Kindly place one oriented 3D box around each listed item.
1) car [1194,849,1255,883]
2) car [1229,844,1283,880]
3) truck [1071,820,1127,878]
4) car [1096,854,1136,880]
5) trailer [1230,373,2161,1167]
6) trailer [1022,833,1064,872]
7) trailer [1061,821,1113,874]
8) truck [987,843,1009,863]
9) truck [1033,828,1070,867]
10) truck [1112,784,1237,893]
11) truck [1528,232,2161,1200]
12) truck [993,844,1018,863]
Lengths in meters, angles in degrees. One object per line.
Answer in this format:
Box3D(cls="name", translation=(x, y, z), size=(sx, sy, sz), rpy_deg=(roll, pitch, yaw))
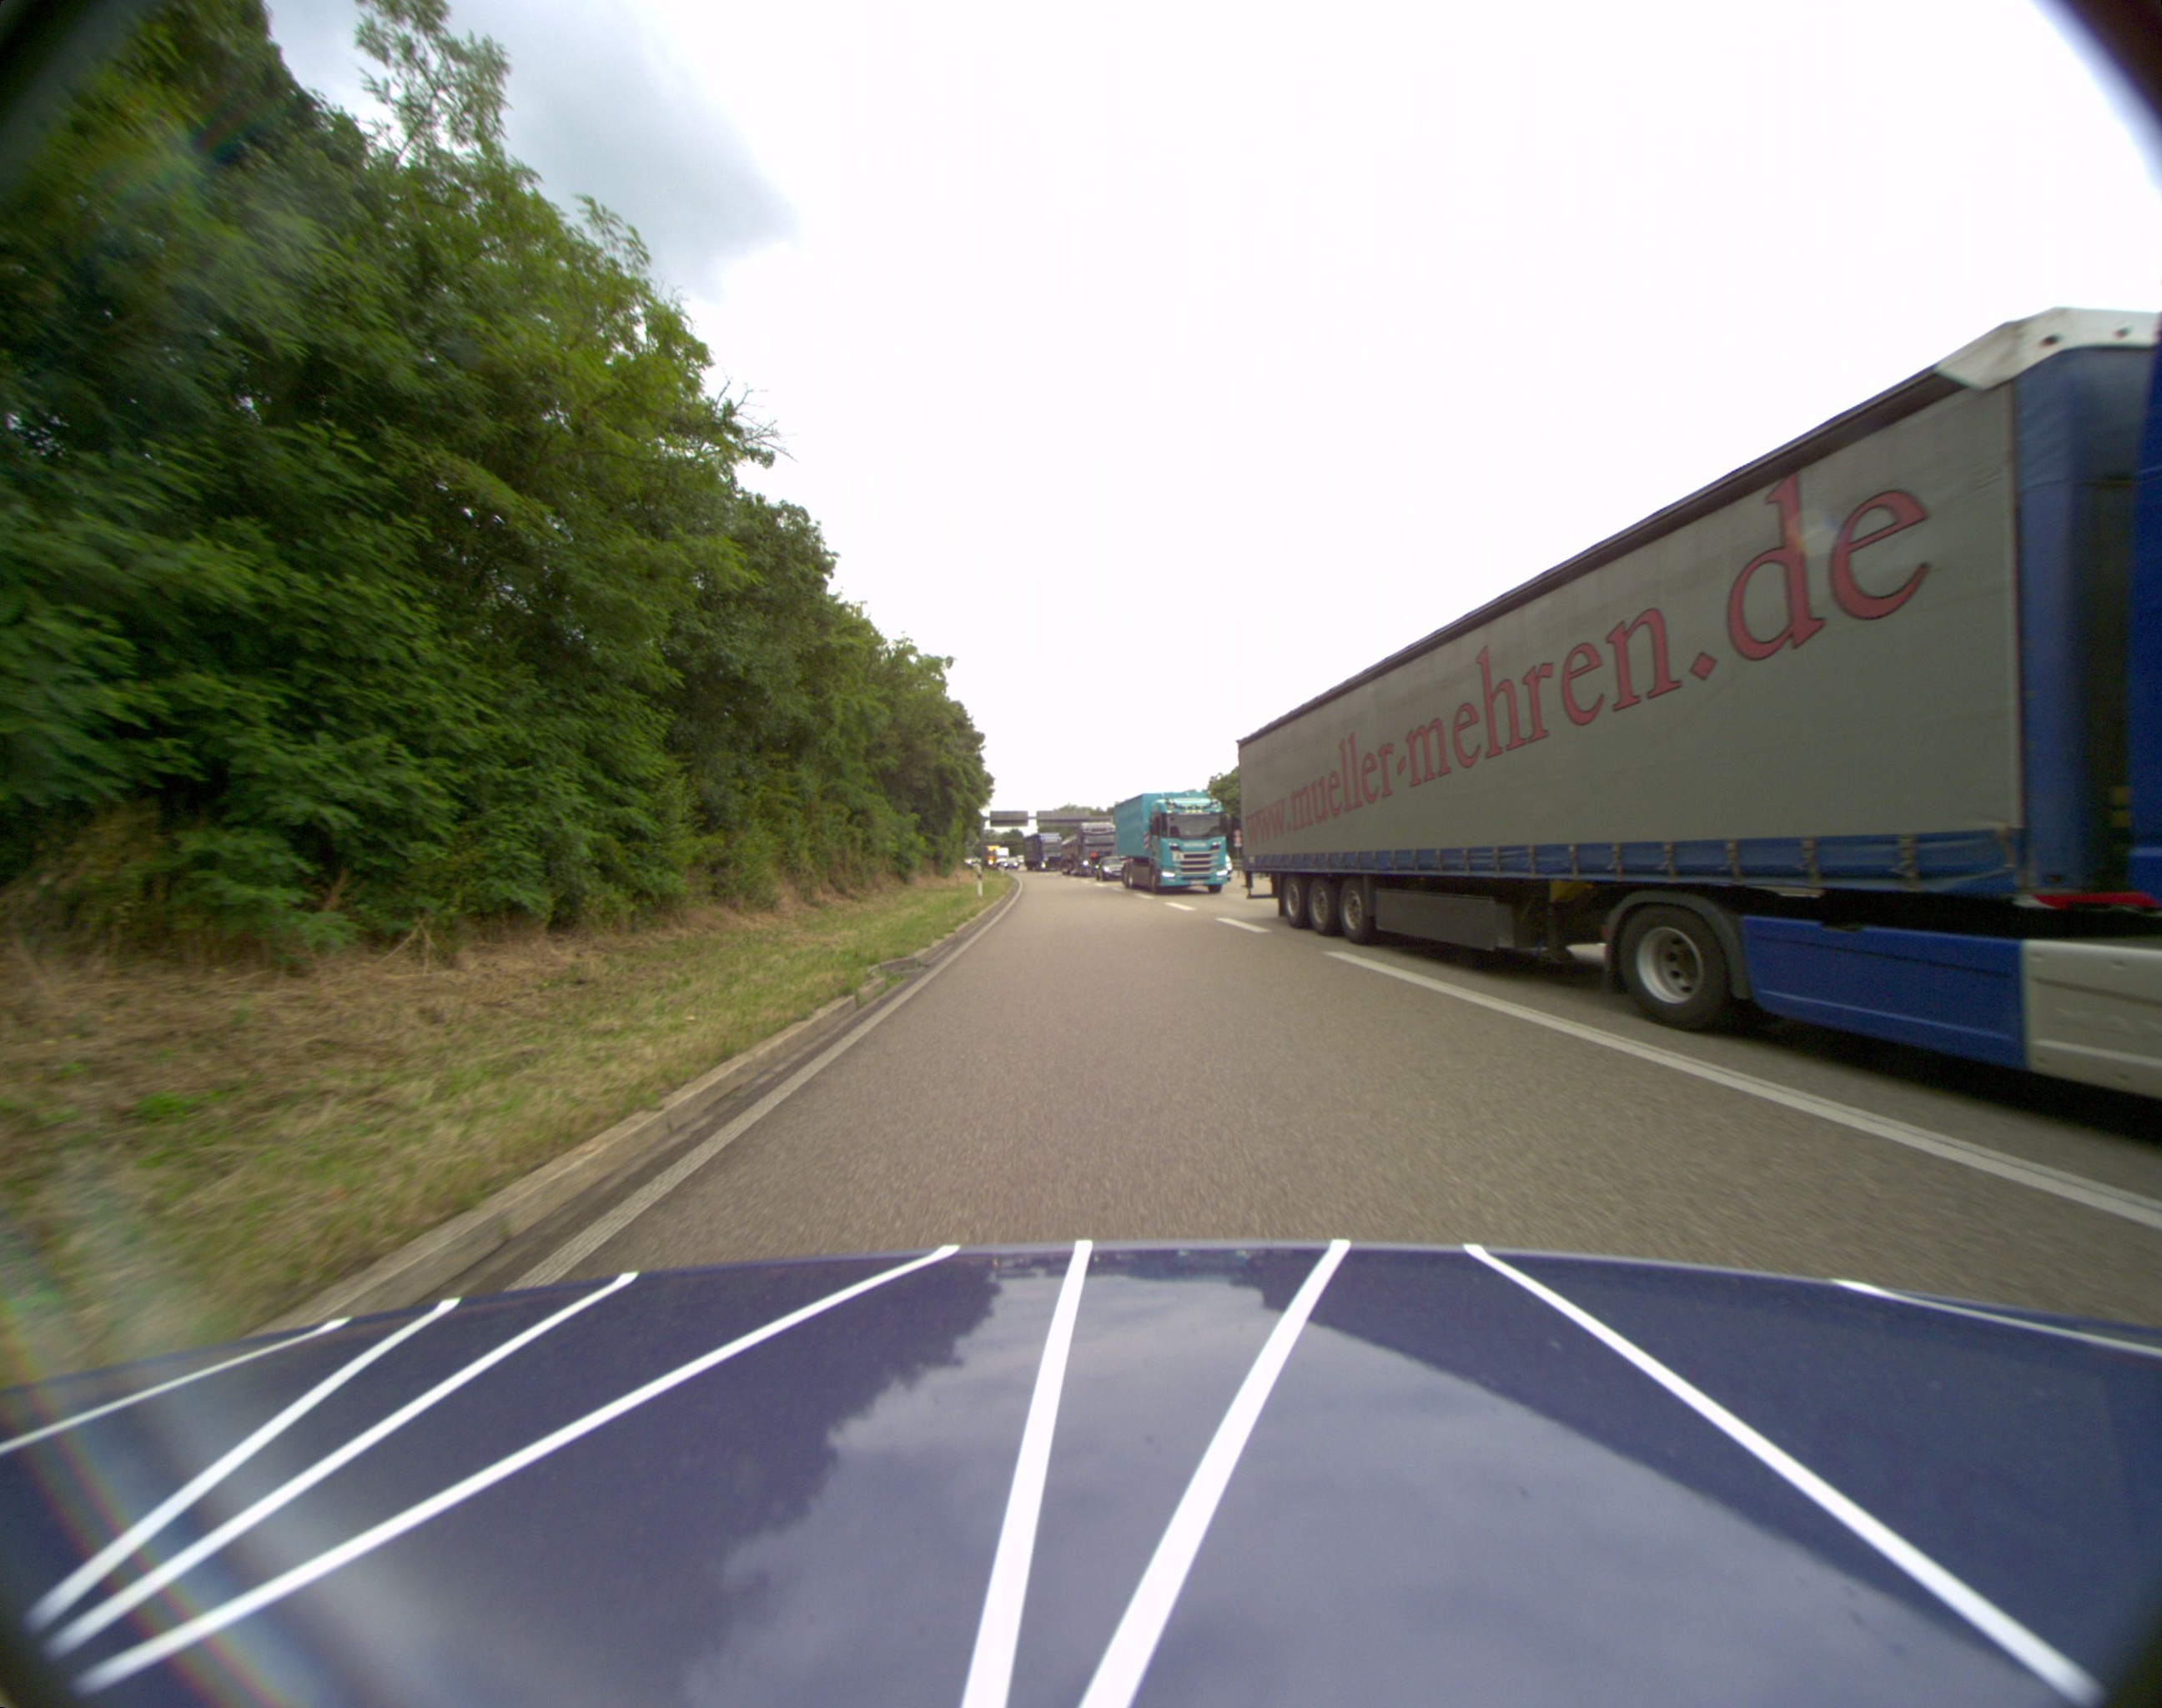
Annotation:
Box3D(cls="car", translation=(7.209, 0.570, 38.612), size=(1.999, 1.562, 3.998), rpy_deg=(-1, 0, -6))
Box3D(cls="car", translation=(10.524, 0.460, 46.046), size=(1.999, 2.002, 3.998), rpy_deg=(-1, 0, -5))
Box3D(cls="truck", translation=(1.205, -0.361, 55.041), size=(2.692, 3.884, 6.929), rpy_deg=(-1, 0, -10))
Box3D(cls="car", translation=(2.019, 0.753, 44.724), size=(1.753, 1.413, 3.661), rpy_deg=(-1, 0, -6))
Box3D(cls="trailer", translation=(5.262, -0.523, 10.644), size=(2.634, 3.999, 13.456), rpy_deg=(-3, 1, -4))
Box3D(cls="trailer", translation=(-4.476, -0.244, 86.918), size=(2.847, 4.013, 13.072), rpy_deg=(-3, 1, -11))
Box3D(cls="trailer", translation=(0.310, -0.447, 61.581), size=(2.691, 3.884, 10.979), rpy_deg=(-1, 0, -8))
Box3D(cls="truck", translation=(-17.426, -0.215, 159.369), size=(3.369, 4.041, 10.172), rpy_deg=(-3, 1, -13))
Box3D(cls="truck", translation=(-3.237, -0.622, 81.085), size=(2.963, 3.946, 7.464), rpy_deg=(-1, 0, -9))
Box3D(cls="truck", translation=(3.506, -0.550, 32.113), size=(2.938, 3.774, 11.325), rpy_deg=(-1, 0, -5))
Box3D(cls="truck", translation=(5.740, -0.599, 3.911), size=(2.568, 4.019, 6.586), rpy_deg=(-3, 1, -4))
Box3D(cls="truck", translation=(-13.000, -0.118, 130.357), size=(3.369, 3.099, 7.231), rpy_deg=(-3, 1, -13))
